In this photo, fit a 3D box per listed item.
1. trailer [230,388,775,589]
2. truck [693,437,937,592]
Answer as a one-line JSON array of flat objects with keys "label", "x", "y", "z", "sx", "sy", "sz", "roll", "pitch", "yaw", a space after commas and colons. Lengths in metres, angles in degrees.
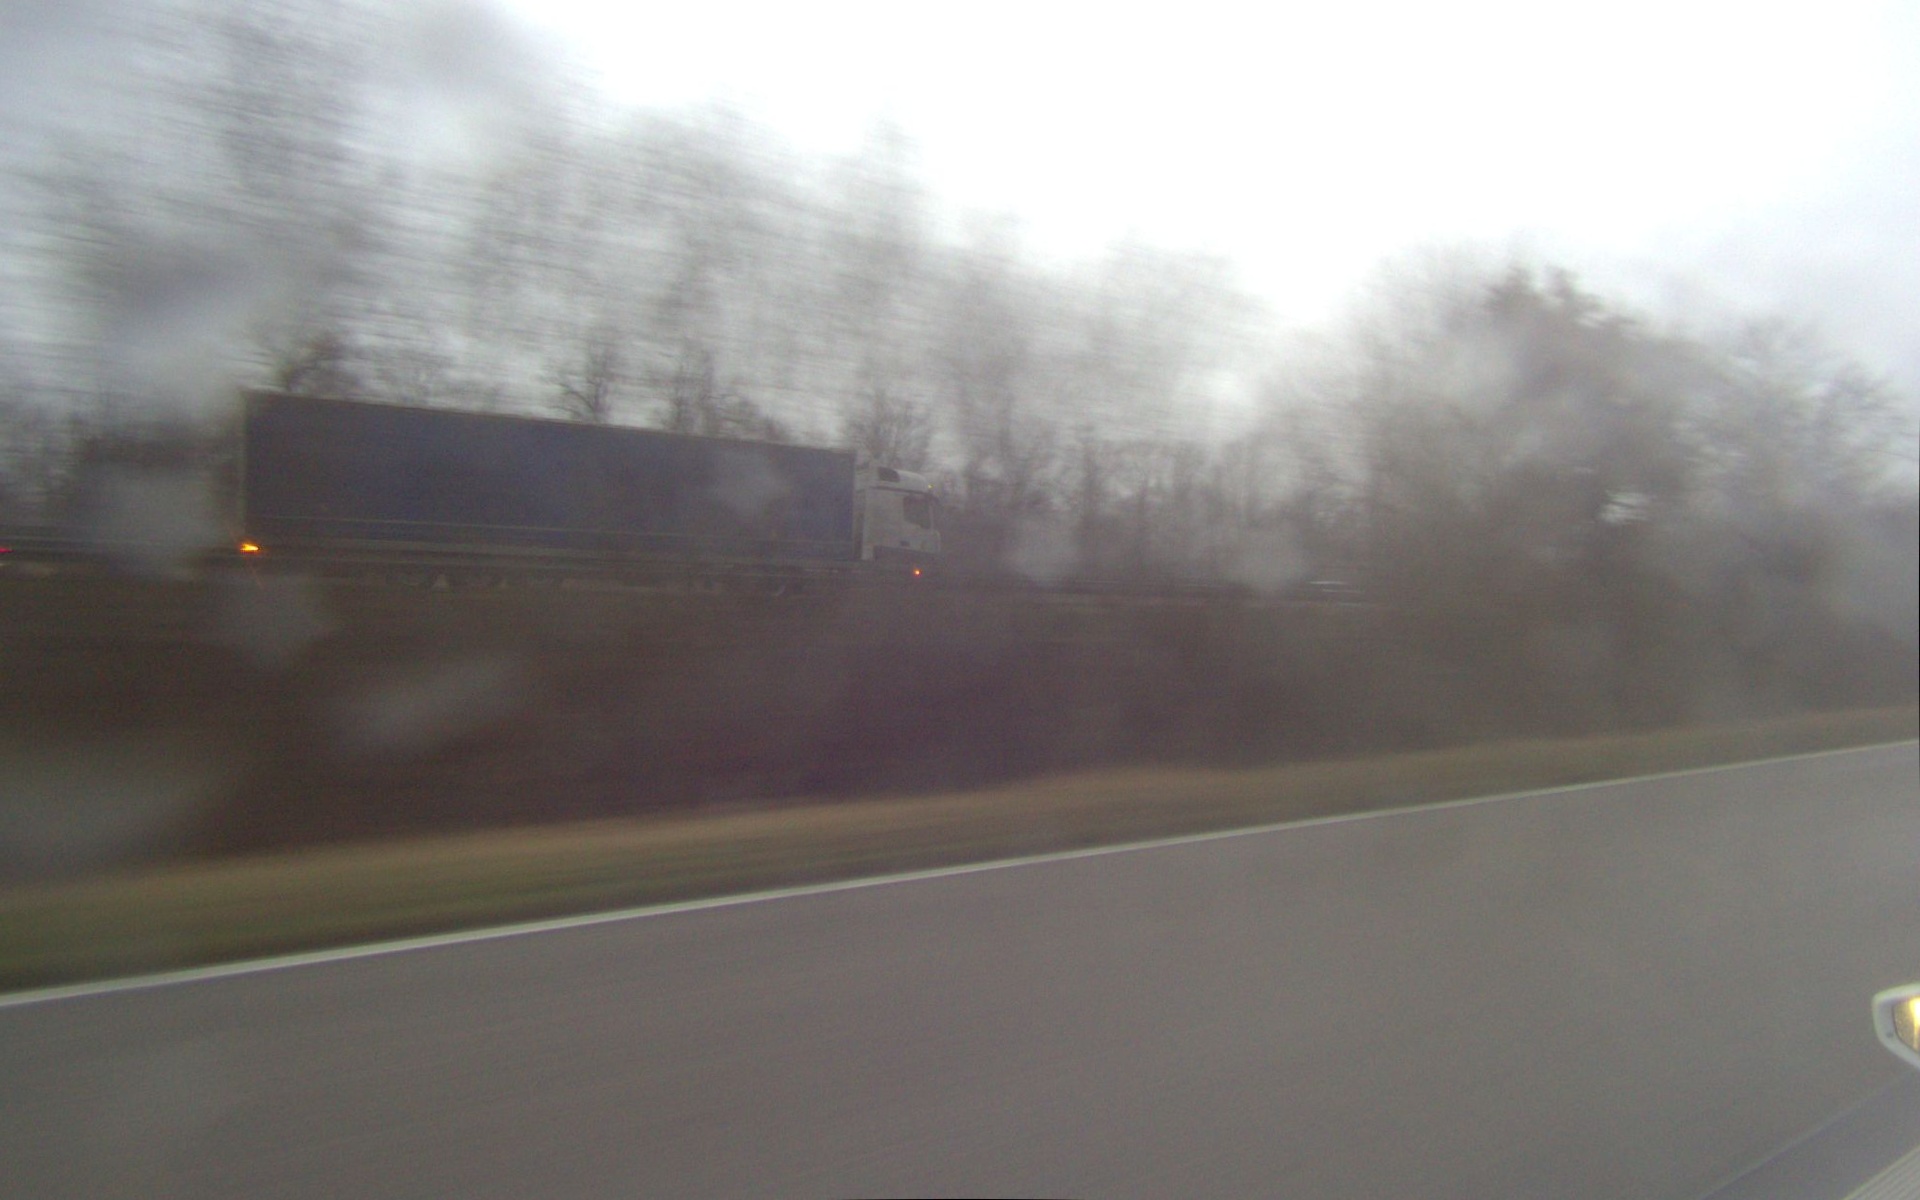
[{"label": "trailer", "x": -10.298, "y": -2.248, "z": 23.995, "sx": 11.255, "sy": 3.682, "sz": 2.984, "roll": 1, "pitch": -1, "yaw": -31}, {"label": "truck", "x": -3.981, "y": -2.138, "z": 27.720, "sx": 5.997, "sy": 3.680, "sz": 2.977, "roll": 1, "pitch": -1, "yaw": -31}]
